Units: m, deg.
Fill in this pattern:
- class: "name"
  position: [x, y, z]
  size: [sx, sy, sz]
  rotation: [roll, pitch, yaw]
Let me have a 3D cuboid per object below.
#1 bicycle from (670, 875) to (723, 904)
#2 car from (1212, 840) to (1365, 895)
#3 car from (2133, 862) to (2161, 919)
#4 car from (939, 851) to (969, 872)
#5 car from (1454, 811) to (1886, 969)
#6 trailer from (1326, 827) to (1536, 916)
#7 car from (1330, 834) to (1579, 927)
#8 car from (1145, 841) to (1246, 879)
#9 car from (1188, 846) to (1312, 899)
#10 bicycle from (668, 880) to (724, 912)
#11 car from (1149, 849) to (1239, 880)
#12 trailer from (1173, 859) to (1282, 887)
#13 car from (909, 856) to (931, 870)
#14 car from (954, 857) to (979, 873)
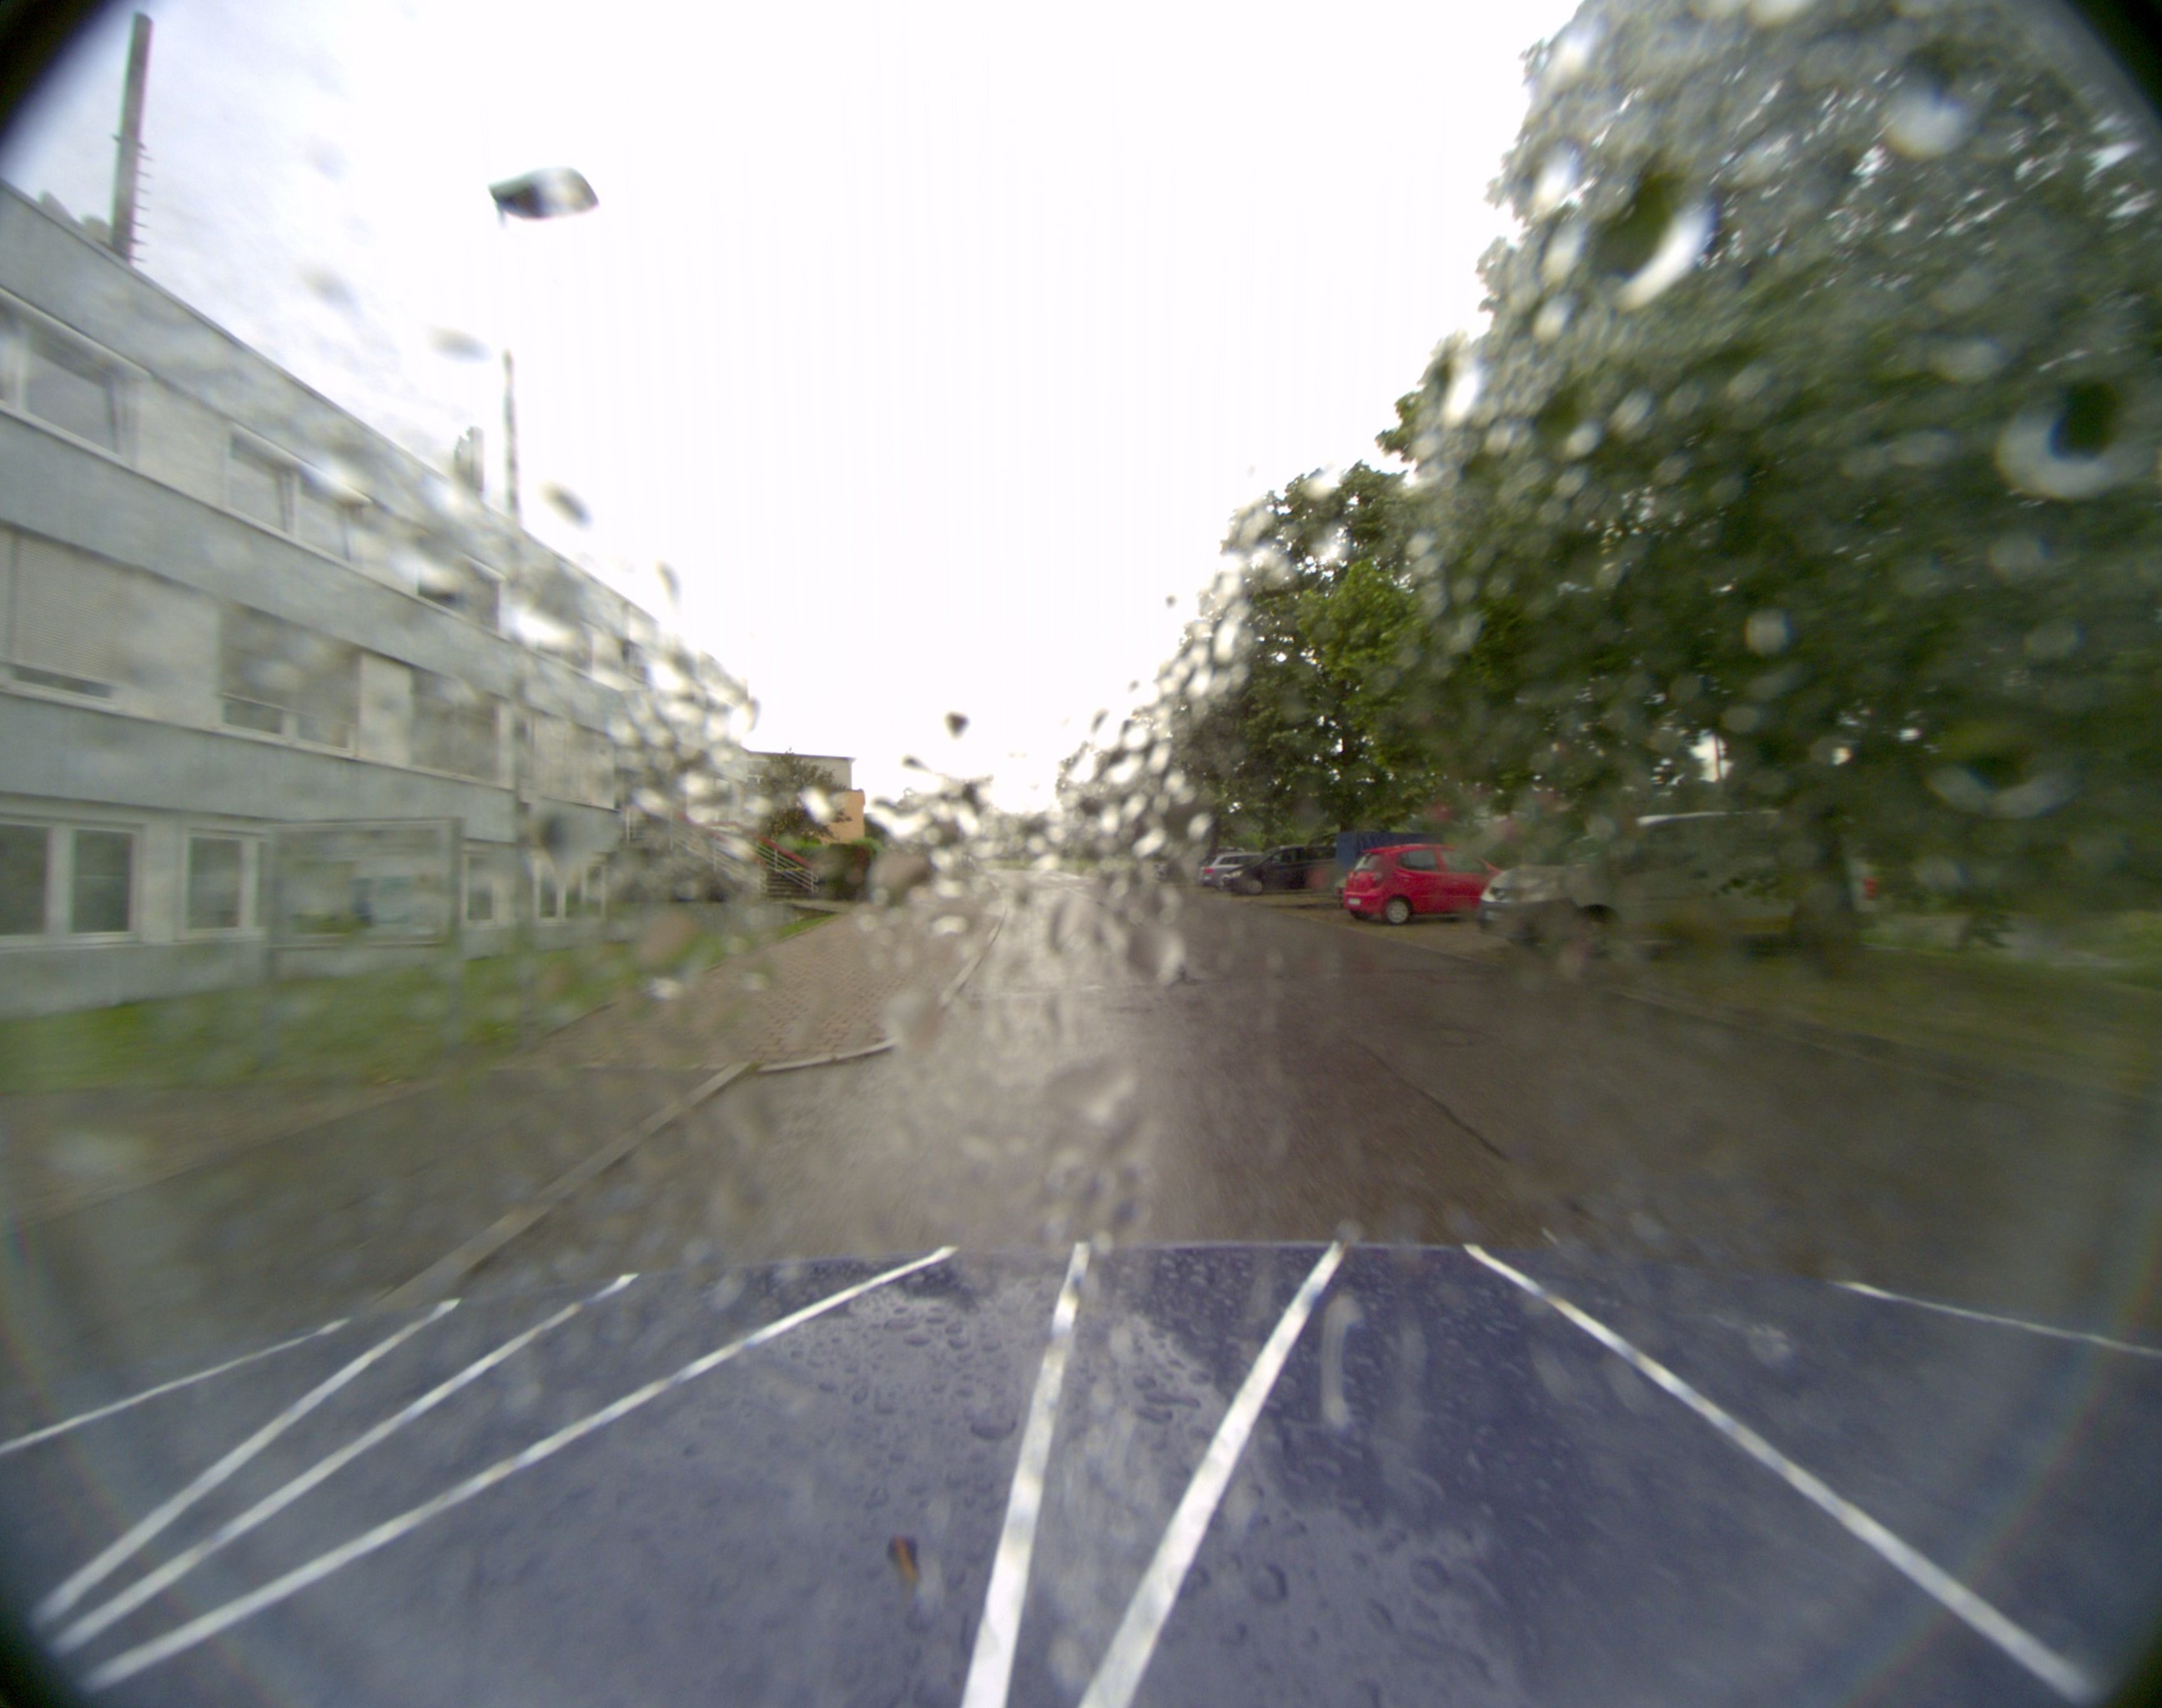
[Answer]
- class: "bicycle"
  position: [-11.747, 1.065, 23.239]
  size: [1.423, 0.825, 0.285]
  rotation: [-1, 1, -24]
- class: "car"
  position: [6.948, 0.421, 25.729]
  size: [4.630, 1.580, 1.805]
  rotation: [-3, 1, -3]
- class: "car"
  position: [44.041, 1.437, 28.845]
  size: [4.493, 2.207, 1.933]
  rotation: [1, 0, 19]
- class: "car"
  position: [-15.072, 0.872, 89.925]
  size: [2.057, 2.317, 5.396]
  rotation: [-1, 0, -25]
- class: "car"
  position: [7.625, 0.440, 10.210]
  size: [4.310, 1.895, 1.862]
  rotation: [-1, 1, 2]
- class: "trailer"
  position: [8.266, 0.383, 18.171]
  size: [4.224, 1.973, 1.773]
  rotation: [-1, 1, -3]
- class: "car"
  position: [7.405, 0.479, 15.262]
  size: [4.208, 1.712, 1.754]
  rotation: [-1, 1, -6]
- class: "car"
  position: [5.406, 0.287, 36.294]
  size: [4.381, 1.712, 2.043]
  rotation: [-1, 1, -7]
- class: "car"
  position: [6.251, 0.670, 28.373]
  size: [4.085, 1.712, 2.025]
  rotation: [-3, 1, -2]
- class: "bicycle"
  position: [-11.630, 1.248, 22.964]
  size: [1.473, 0.897, 0.285]
  rotation: [-1, 1, -24]
- class: "car"
  position: [5.806, 0.529, 39.109]
  size: [4.227, 1.423, 1.772]
  rotation: [-2, 1, -11]
- class: "trailer"
  position: [5.903, 0.766, 31.012]
  size: [3.953, 0.955, 1.999]
  rotation: [-2, 0, -5]
- class: "car"
  position: [-21.793, 1.210, 103.056]
  size: [1.828, 1.775, 3.810]
  rotation: [-1, 1, -30]
- class: "car"
  position: [-12.708, 1.198, 84.396]
  size: [1.819, 1.717, 4.643]
  rotation: [-1, 1, -21]
